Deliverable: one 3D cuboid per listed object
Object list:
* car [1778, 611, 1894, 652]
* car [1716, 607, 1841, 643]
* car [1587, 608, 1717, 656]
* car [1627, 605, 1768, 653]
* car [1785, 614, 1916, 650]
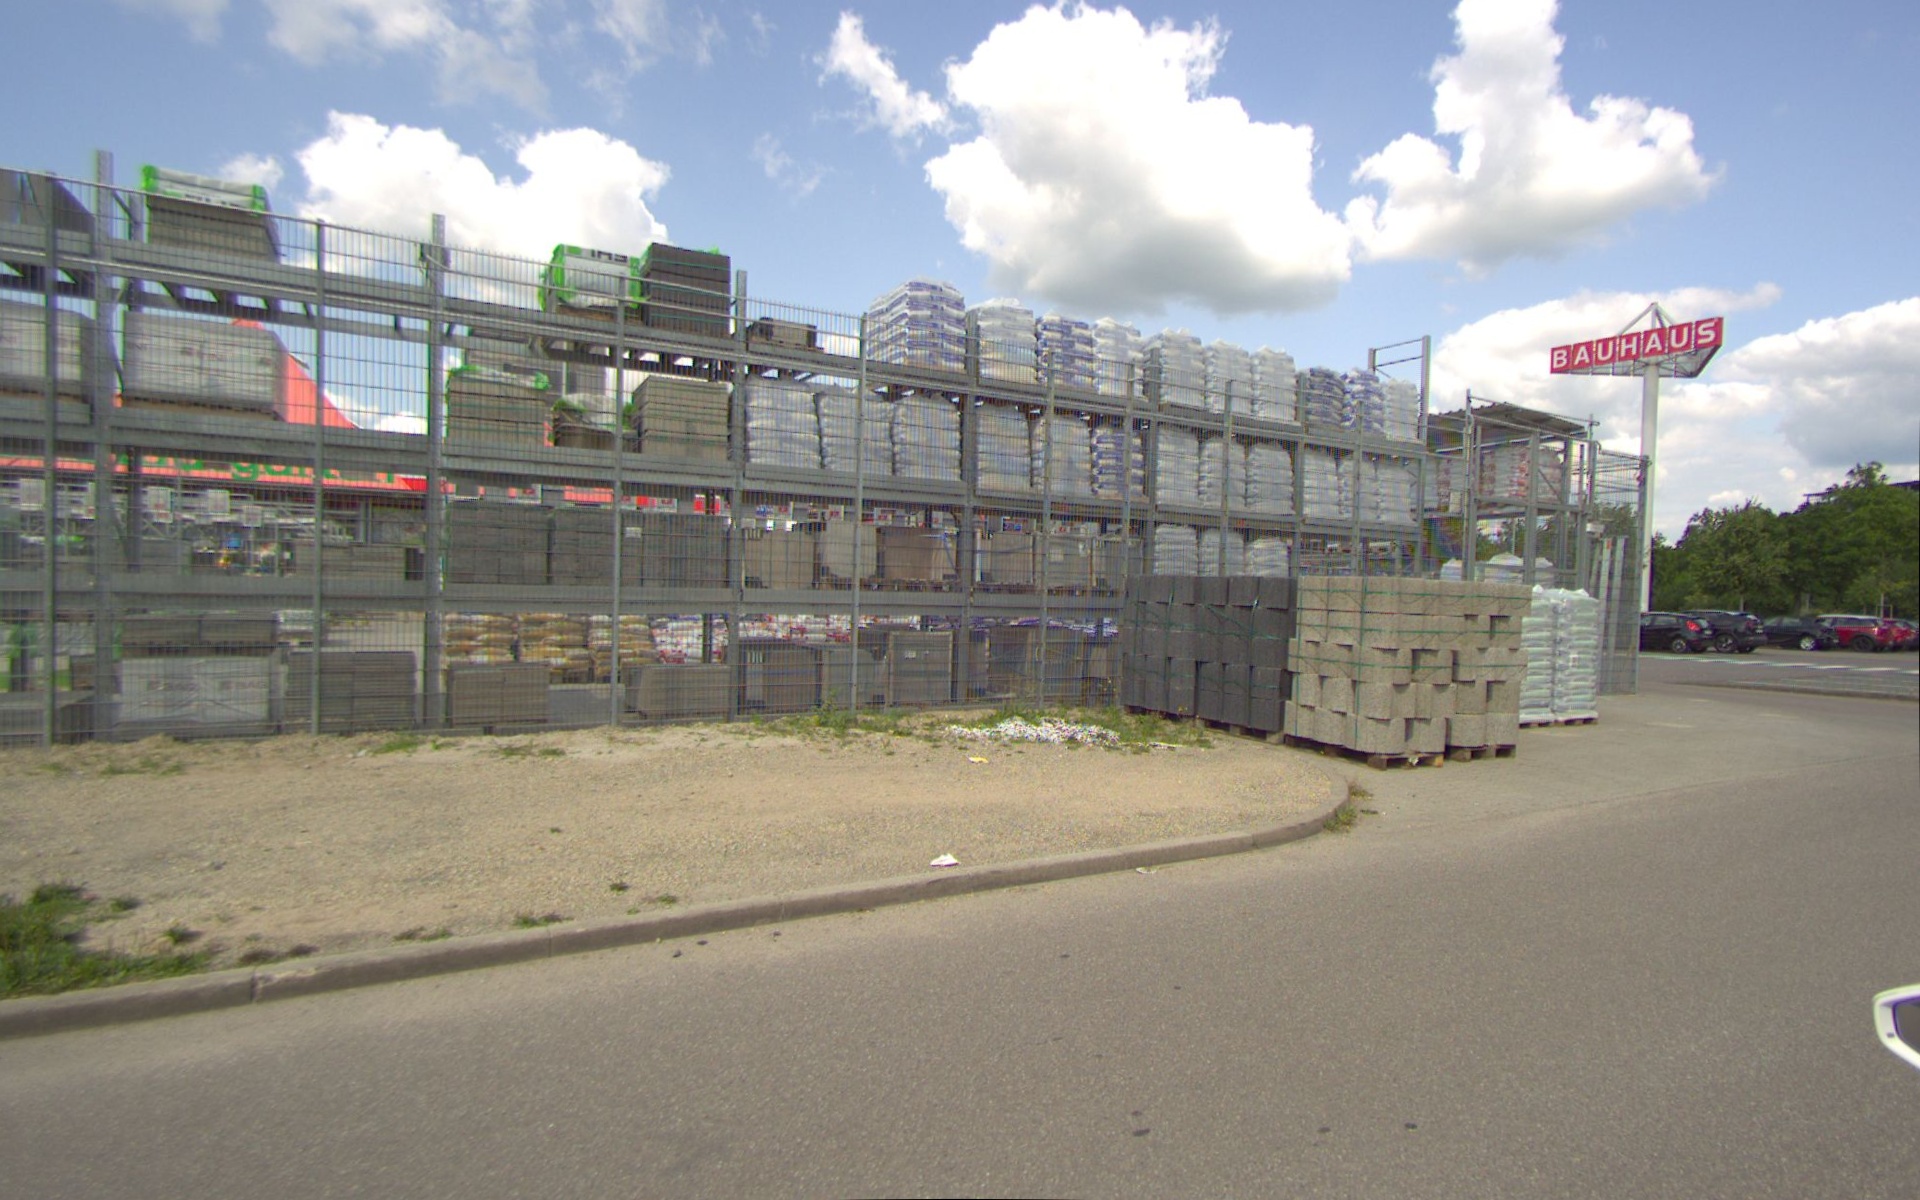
[{"bbox_3d":[38.006,1.339,43.651,1.690,1.602,3.418,1,1,-31],"label":"car"},{"bbox_3d":[35.283,1.071,43.397,1.710,1.387,3.849,1,1,-32],"label":"car"},{"bbox_3d":[26.398,1.187,38.412,1.765,1.646,3.671,1,1,-34],"label":"car"},{"bbox_3d":[28.567,1.084,39.049,1.763,1.646,4.050,1,1,-31],"label":"car"},{"bbox_3d":[40.039,1.412,45.258,1.746,1.417,4.053,1,1,-31],"label":"car"}]
